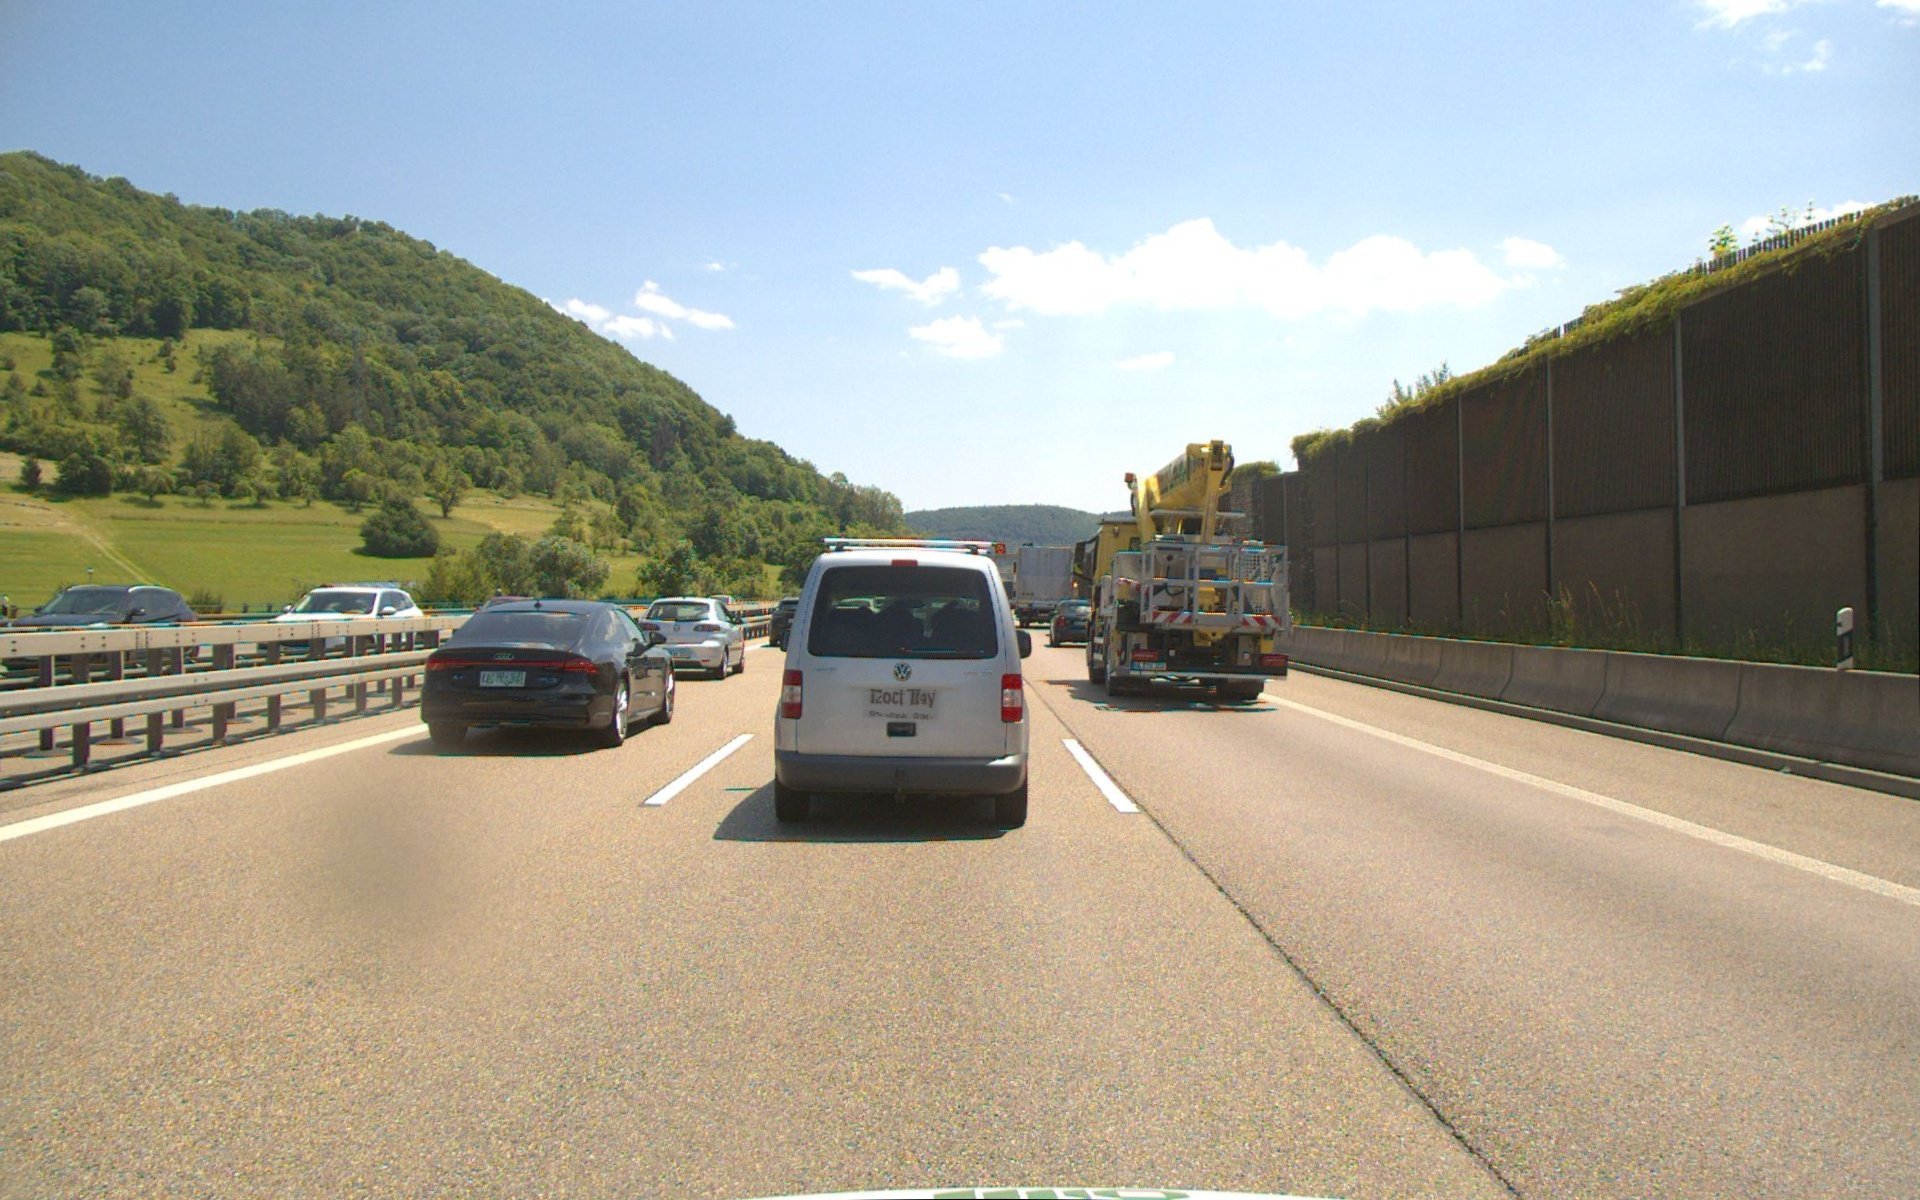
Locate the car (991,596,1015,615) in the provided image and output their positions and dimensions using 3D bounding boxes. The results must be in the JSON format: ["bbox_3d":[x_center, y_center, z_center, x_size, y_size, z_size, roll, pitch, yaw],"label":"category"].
[{"bbox_3d":[4.392,0.545,169.151,2.072,1.859,3.997,1,-1,-4],"label":"car"}]

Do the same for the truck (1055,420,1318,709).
[{"bbox_3d":[3.421,-0.494,27.401,2.650,4.011,8.715,0,0,-4],"label":"truck"}]

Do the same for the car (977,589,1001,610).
[{"bbox_3d":[2.534,-0.058,143.953,1.953,1.779,3.999,1,0,-1],"label":"car"}]

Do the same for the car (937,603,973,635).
[{"bbox_3d":[-0.321,1.141,100.785,2.071,1.859,3.999,1,-1,-1],"label":"car"}]

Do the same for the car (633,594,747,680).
[{"bbox_3d":[-4.877,0.631,30.311,1.662,1.470,3.859,0,0,-3],"label":"car"}]

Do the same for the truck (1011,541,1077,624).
[{"bbox_3d":[4.172,-0.813,83.393,2.880,3.890,8.236,1,-1,0],"label":"truck"}]

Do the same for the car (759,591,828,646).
[{"bbox_3d":[-4.917,0.531,49.289,1.887,1.525,3.997,1,0,-4],"label":"car"}]

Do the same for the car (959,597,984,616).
[{"bbox_3d":[1.122,0.646,163.854,2.072,1.859,3.997,1,-1,-4],"label":"car"}]

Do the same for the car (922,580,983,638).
[{"bbox_3d":[-0.300,0.304,58.653,1.954,2.010,3.997,0,0,-4],"label":"car"}]

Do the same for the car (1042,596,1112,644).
[{"bbox_3d":[3.696,0.621,52.772,1.751,1.484,3.768,0,0,-4],"label":"car"}]

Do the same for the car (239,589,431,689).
[{"bbox_3d":[-11.679,0.685,31.263,1.953,1.723,4.509,1,0,-1],"label":"car"}]

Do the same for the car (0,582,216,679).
[{"bbox_3d":[-15.579,0.510,30.441,1.831,1.646,4.354,0,0,-1],"label":"car"}]

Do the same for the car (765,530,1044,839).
[{"bbox_3d":[-0.465,0.517,12.237,1.721,1.900,3.997,0,0,-4],"label":"car"}]

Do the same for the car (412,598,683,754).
[{"bbox_3d":[-4.164,0.692,17.527,1.764,1.415,4.967,0,0,-2],"label":"car"}]

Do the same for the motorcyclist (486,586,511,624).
[{"bbox_3d":[-18.791,0.218,67.346,0.827,1.527,0.838,0,0,-2],"label":"motorcyclist"}]

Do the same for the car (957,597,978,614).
[{"bbox_3d":[0.860,0.608,186.319,2.072,1.859,3.997,1,-1,-4],"label":"car"}]
